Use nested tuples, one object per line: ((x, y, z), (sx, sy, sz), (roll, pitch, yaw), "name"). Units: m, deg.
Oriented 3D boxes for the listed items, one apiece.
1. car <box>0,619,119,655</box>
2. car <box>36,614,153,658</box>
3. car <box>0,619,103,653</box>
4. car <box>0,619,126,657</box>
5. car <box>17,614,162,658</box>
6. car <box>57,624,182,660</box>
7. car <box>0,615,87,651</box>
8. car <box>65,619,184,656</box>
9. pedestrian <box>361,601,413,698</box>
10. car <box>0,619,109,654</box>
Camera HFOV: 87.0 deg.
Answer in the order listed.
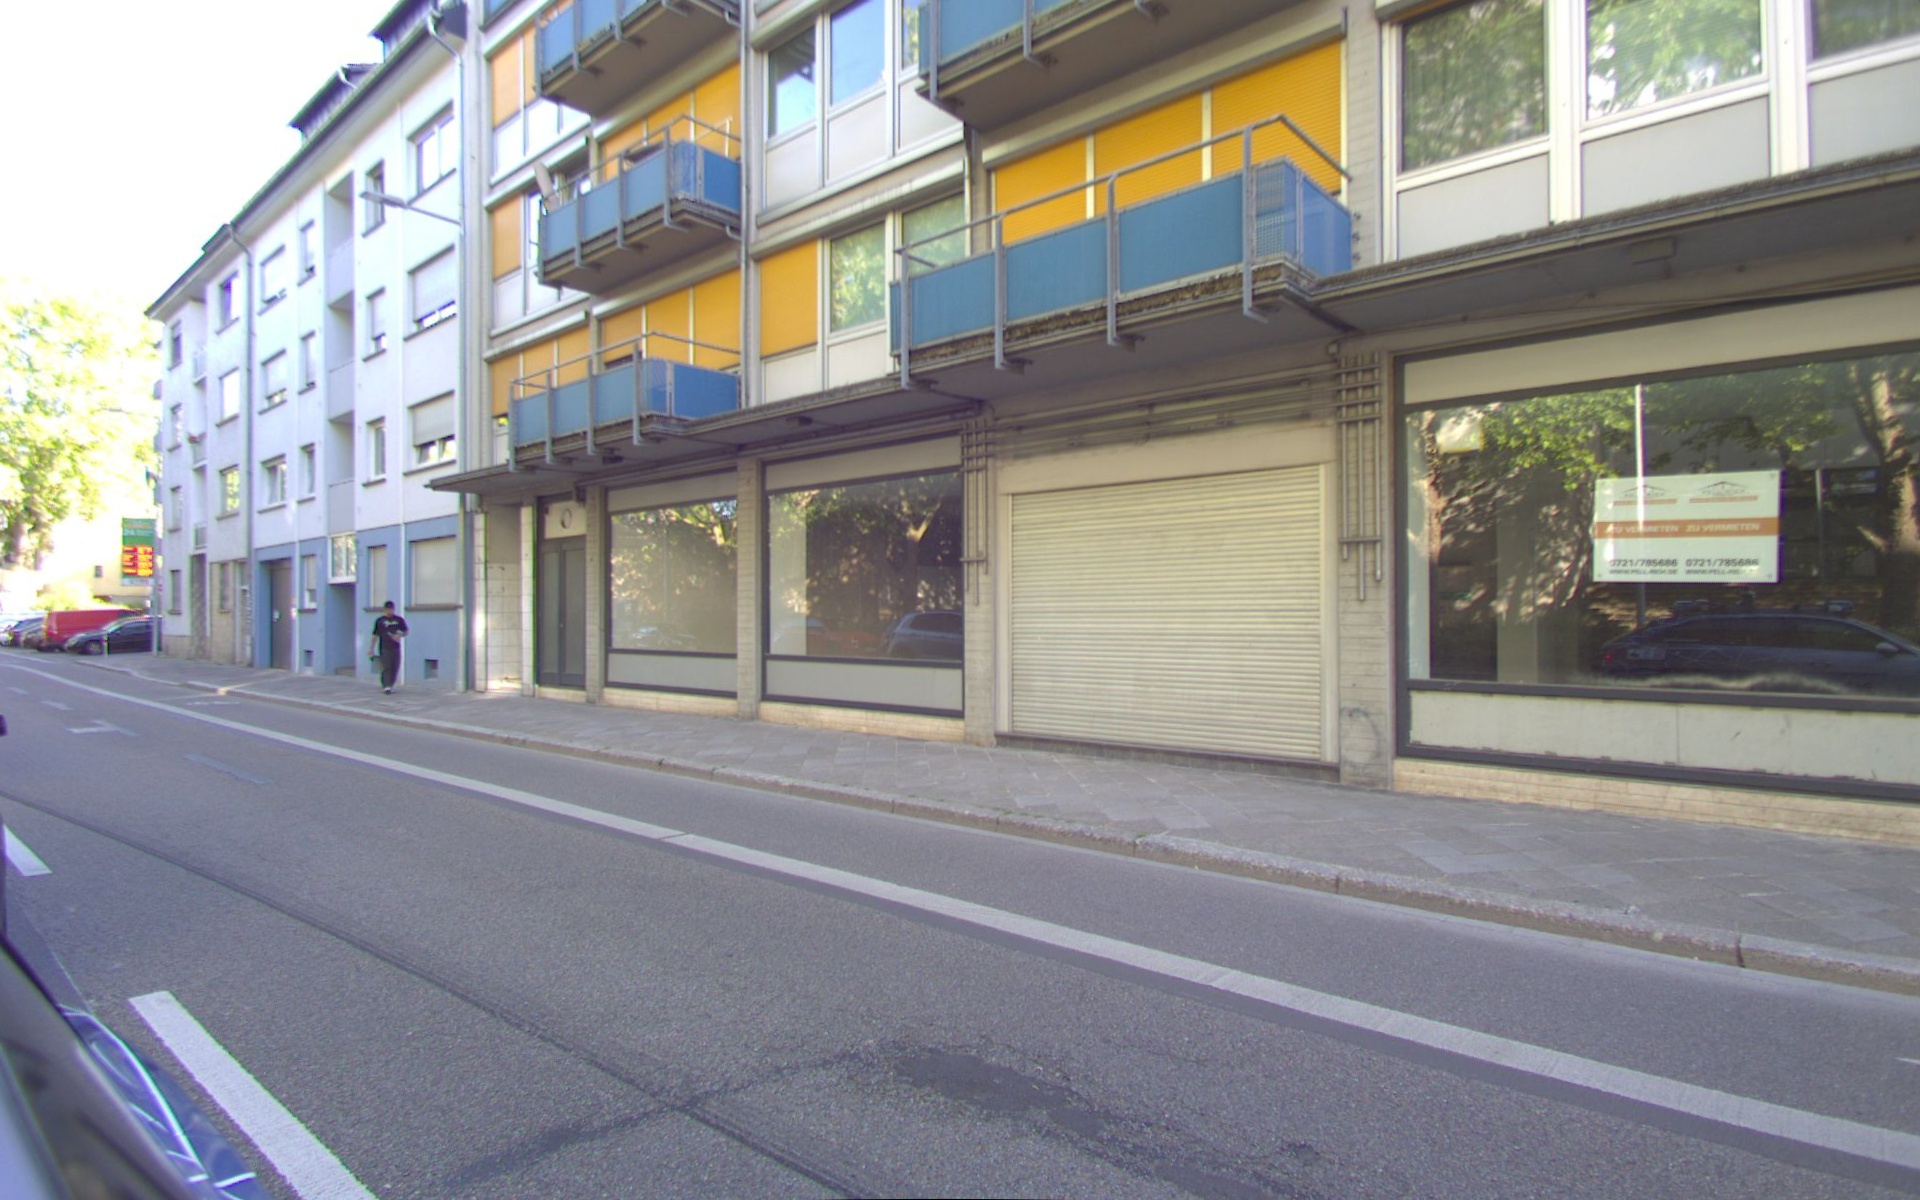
((-52.231, 2.114, 58.720), (2.159, 1.952, 4.990), (-1, -1, 41), "car")
((-40.585, 1.638, 47.518), (1.866, 1.952, 3.946), (-1, -1, 41), "car")
((-55.964, 2.163, 61.989), (2.314, 1.952, 4.978), (-1, -1, 41), "car")
((-50.292, 2.091, 56.832), (2.186, 1.952, 5.077), (-1, -1, 41), "car")
((-42.685, 1.705, 49.716), (2.256, 1.995, 5.156), (-1, -1, 41), "car")
((-36.547, 1.792, 44.079), (1.742, 1.431, 3.946), (-1, -1, 41), "car")
((-59.338, 2.103, 64.715), (2.186, 2.164, 5.077), (-1, -1, 41), "car")
((-37.872, 1.682, 45.944), (1.742, 1.572, 3.946), (-1, -1, 41), "car")
((-10.891, 0.915, 19.219), (0.793, 1.785, 0.654), (-2, -1, 45), "pedestrian")
((-54.117, 2.136, 60.357), (2.082, 1.952, 4.928), (-1, -1, 41), "car")
